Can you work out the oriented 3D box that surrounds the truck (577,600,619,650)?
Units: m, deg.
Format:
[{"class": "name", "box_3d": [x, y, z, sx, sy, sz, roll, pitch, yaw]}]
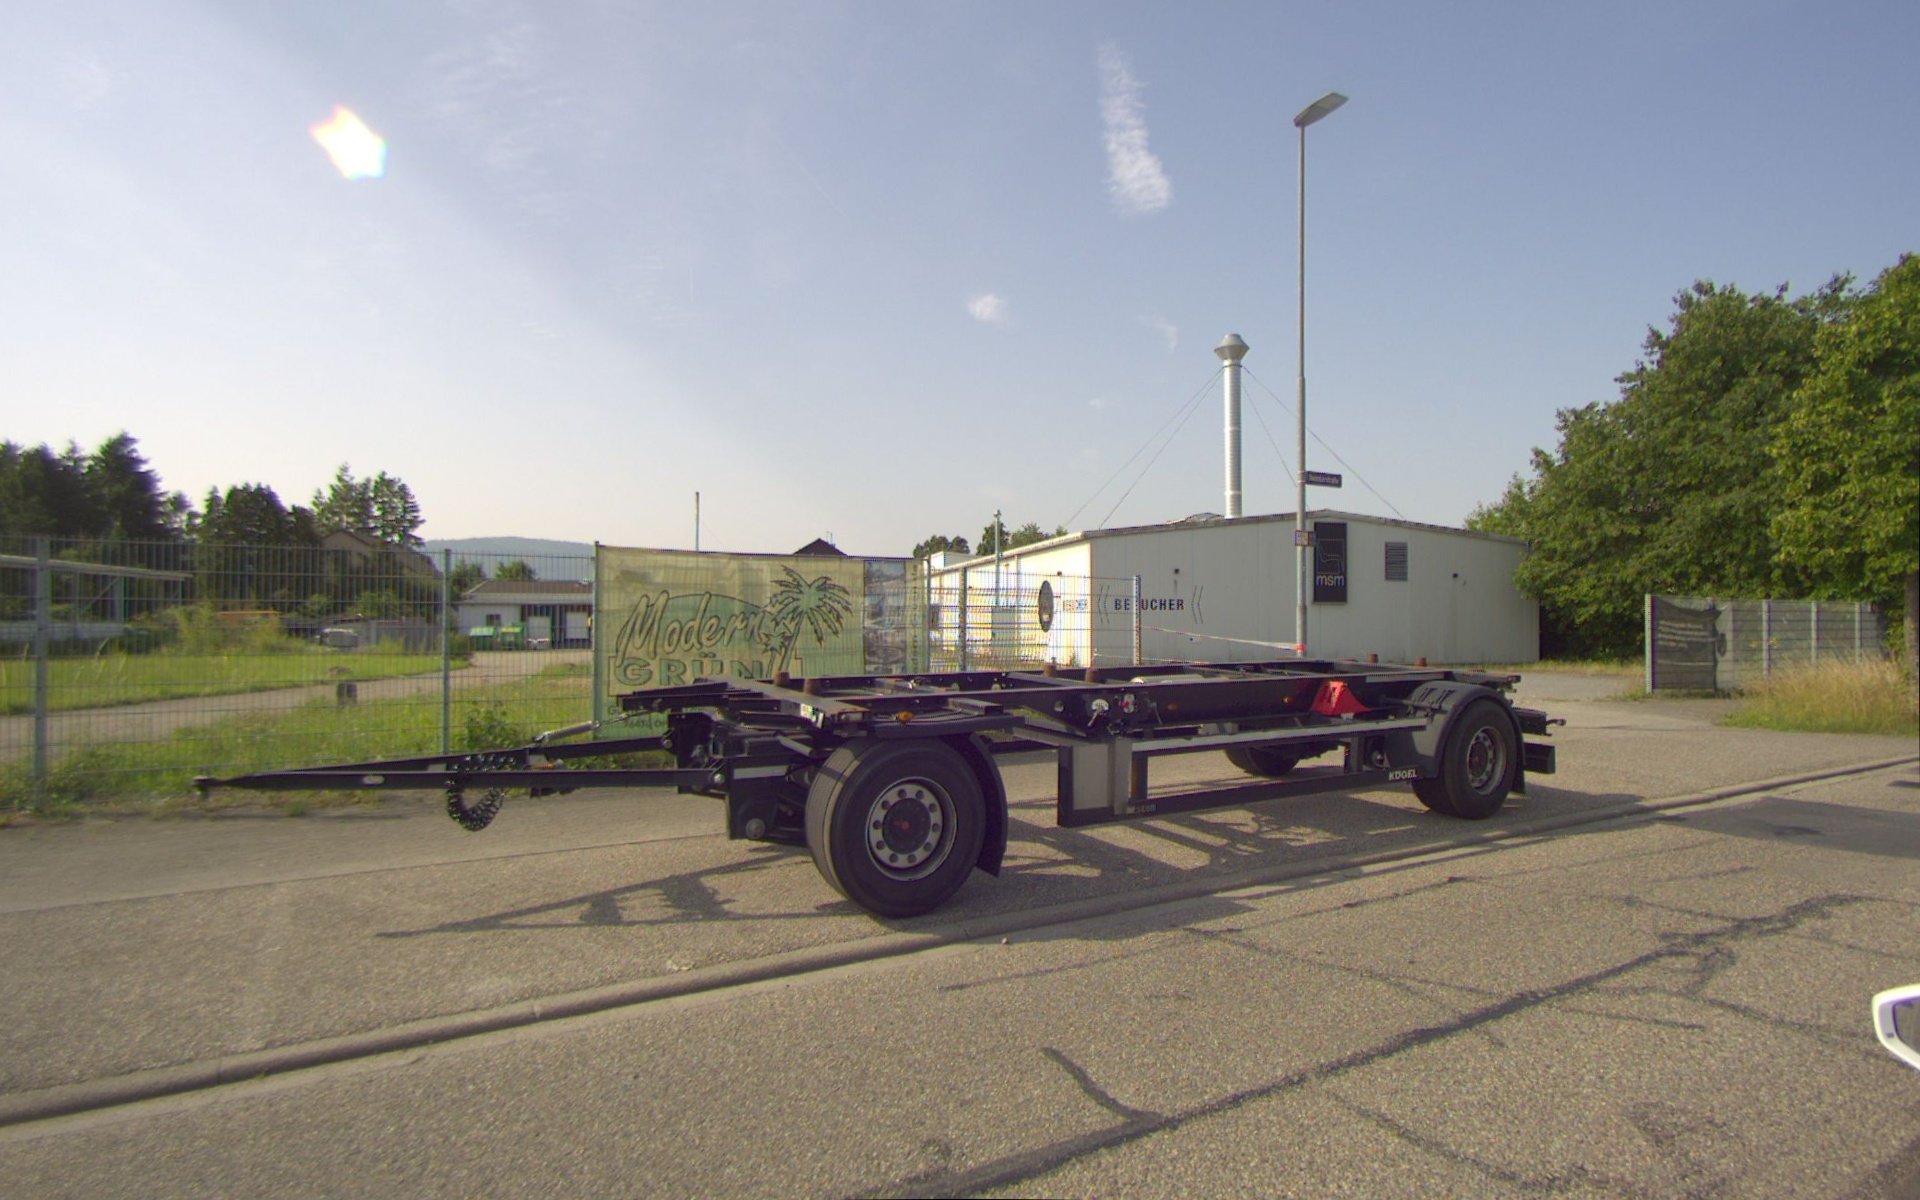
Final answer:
[{"class": "truck", "box_3d": [-29.840, 2.133, 83.091, 2.853, 3.938, 7.560, 0, -2, -17]}]

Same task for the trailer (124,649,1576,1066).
[{"class": "trailer", "box_3d": [0.467, 1.039, 6.933, 9.257, 1.200, 2.569, 1, 0, -32]}]
